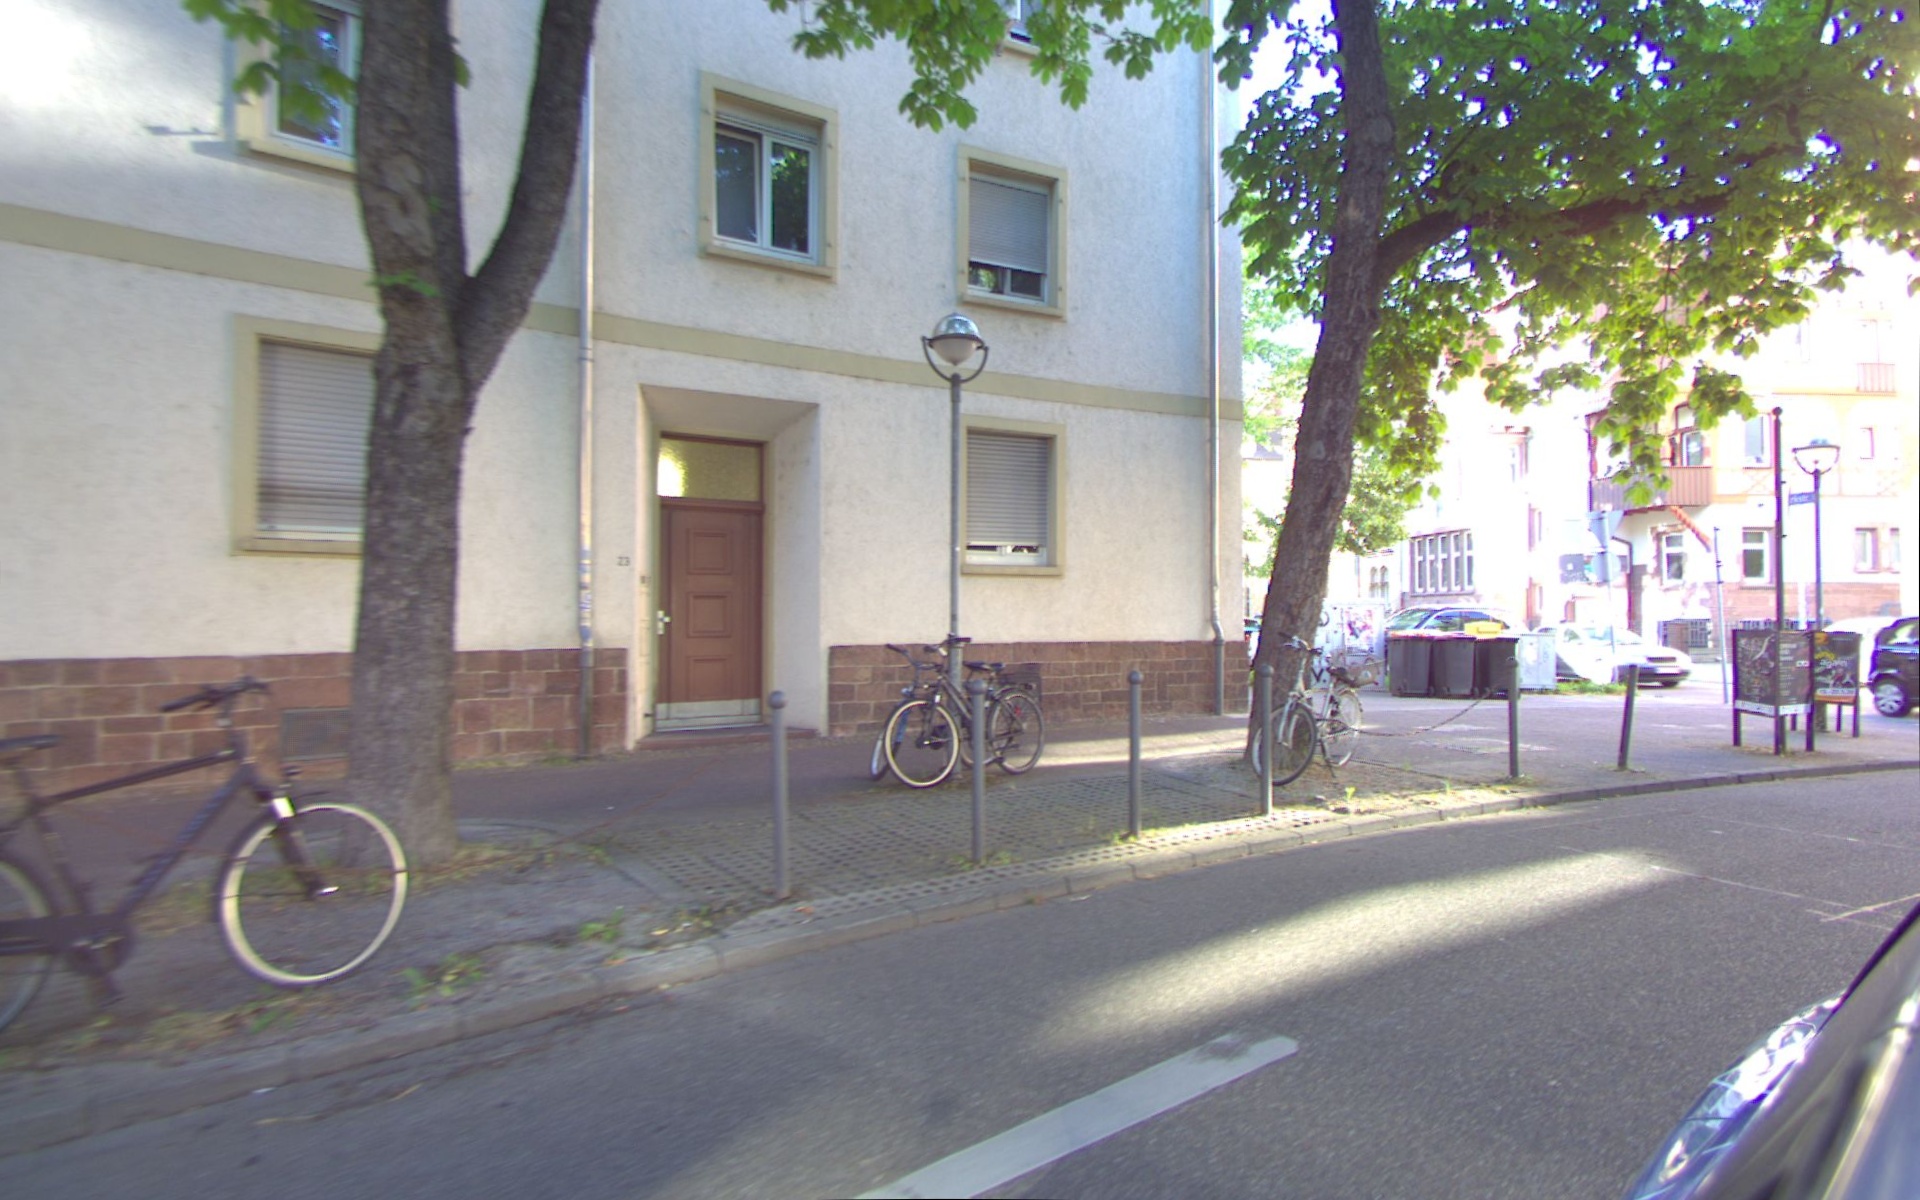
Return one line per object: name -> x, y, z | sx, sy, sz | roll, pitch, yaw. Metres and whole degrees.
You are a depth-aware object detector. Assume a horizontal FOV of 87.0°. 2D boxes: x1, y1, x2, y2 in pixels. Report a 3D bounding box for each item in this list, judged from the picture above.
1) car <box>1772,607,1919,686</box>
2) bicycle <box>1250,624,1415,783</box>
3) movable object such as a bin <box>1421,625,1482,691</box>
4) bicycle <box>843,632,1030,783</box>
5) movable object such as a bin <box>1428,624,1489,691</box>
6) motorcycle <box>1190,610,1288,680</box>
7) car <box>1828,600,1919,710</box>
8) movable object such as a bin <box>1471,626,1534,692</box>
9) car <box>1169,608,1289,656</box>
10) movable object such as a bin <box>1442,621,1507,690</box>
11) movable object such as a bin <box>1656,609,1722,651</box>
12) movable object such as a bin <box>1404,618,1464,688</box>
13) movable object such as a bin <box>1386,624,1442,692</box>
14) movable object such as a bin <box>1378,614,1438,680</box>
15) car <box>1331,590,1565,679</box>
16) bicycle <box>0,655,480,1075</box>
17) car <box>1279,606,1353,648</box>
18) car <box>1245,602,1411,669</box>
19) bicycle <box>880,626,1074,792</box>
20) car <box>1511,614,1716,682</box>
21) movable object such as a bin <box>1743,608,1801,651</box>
car -> 19.693, 0.925, 21.420 | 1.677, 1.504, 3.799 | -2, -1, -4
bicycle -> 3.176, 0.807, 8.548 | 1.760, 1.197, 0.554 | 1, -2, -42
movable object such as a bin -> 8.923, 1.034, 18.386 | 0.725, 1.168, 0.716 | 0, -1, -3
bicycle -> -0.157, 0.841, 8.462 | 1.773, 1.123, 0.391 | 1, -2, -44
movable object such as a bin -> 8.264, 0.943, 16.784 | 0.618, 1.089, 0.706 | 0, -1, -3
motorcycle -> 5.480, 0.865, 20.042 | 0.958, 1.296, 2.186 | 1, -1, -13
car -> 15.315, 0.785, 14.460 | 1.961, 1.614, 4.263 | -2, -1, -2
movable object such as a bin -> 9.043, 0.974, 16.886 | 0.646, 1.078, 0.695 | 0, -1, -3
car -> 8.955, 1.065, 33.855 | 3.530, 1.525, 1.678 | 1, -2, -3
movable object such as a bin -> 8.945, 0.956, 17.612 | 0.725, 1.168, 0.702 | 0, -1, -3
movable object such as a bin -> 23.108, 0.948, 32.122 | 1.356, 1.315, 0.967 | -1, -1, 6
movable object such as a bin -> 8.196, 0.906, 17.521 | 0.621, 1.168, 0.702 | -2, -2, -3
movable object such as a bin -> 7.593, 0.962, 16.943 | 0.581, 1.097, 0.674 | 0, -1, -5
movable object such as a bin -> 8.085, 0.844, 18.295 | 0.725, 1.168, 0.702 | 0, -1, -3
car -> 10.350, 0.744, 21.633 | 4.035, 1.735, 2.026 | 1, -2, -8
bicycle -> -2.816, 0.828, 3.515 | 1.966, 1.173, 0.680 | 0, 0, -42
car -> 17.464, 1.286, 49.919 | 1.768, 1.931, 4.327 | -2, -1, -4
car -> 9.458, 0.896, 26.205 | 3.634, 1.672, 1.704 | 0, -1, 0
bicycle -> 0.180, 0.818, 8.190 | 1.754, 1.196, 0.437 | 1, -2, -42
car -> 14.825, 1.029, 23.281 | 1.760, 1.413, 4.257 | 0, -1, -3
movable object such as a bin -> 25.806, 0.920, 32.183 | 1.355, 1.334, 0.688 | -1, -1, -11
